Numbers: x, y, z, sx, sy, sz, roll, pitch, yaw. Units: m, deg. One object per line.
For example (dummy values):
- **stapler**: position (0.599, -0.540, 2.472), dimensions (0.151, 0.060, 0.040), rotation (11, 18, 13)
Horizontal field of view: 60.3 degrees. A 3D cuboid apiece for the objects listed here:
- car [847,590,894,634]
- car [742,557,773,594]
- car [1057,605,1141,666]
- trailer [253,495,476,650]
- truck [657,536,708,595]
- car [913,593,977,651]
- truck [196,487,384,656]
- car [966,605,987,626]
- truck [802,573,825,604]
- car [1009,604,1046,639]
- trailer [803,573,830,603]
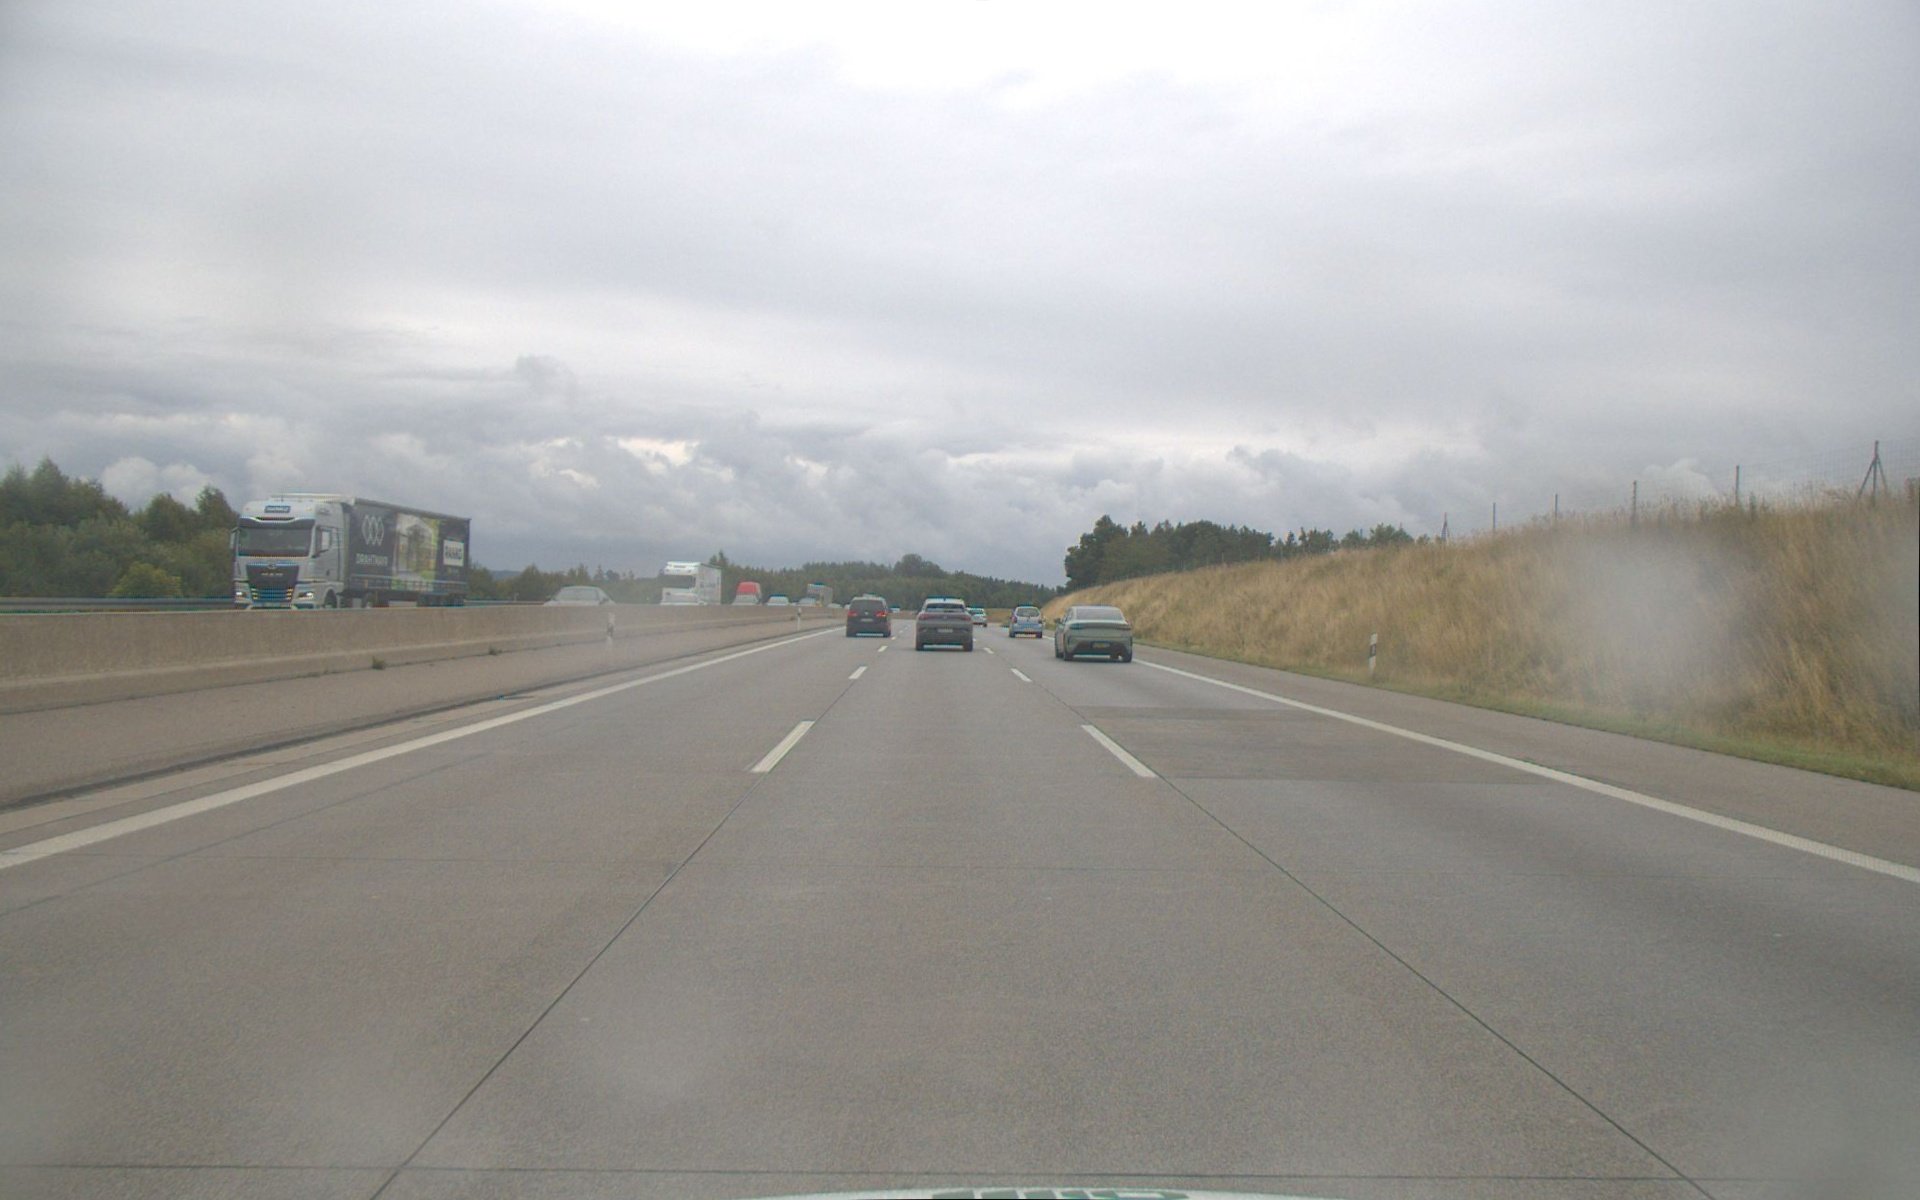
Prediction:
- **car**: position (-3.866, 0.497, 71.990), dimensions (1.748, 1.777, 3.916), rotation (1, 1, 1)
- **car**: position (-16.786, -2.015, 137.195), dimensions (1.764, 3.010, 5.579), rotation (1, 0, 1)
- **car**: position (3.744, 0.932, 45.341), dimensions (1.973, 1.471, 4.746), rotation (1, 1, 1)
- **trailer**: position (-20.880, -0.936, 59.189), dimensions (3.526, 4.883, 12.904), rotation (1, 1, -1)
- **truck**: position (-21.412, -2.654, 127.913), dimensions (2.825, 4.366, 7.134), rotation (1, 0, -2)
- **car**: position (-0.526, 0.656, 53.292), dimensions (1.860, 1.719, 5.264), rotation (1, 1, -2)
- **truck**: position (-20.694, -0.856, 51.533), dimensions (3.515, 4.903, 5.867), rotation (1, 0, -2)
- **car**: position (1.319, 1.248, 132.509), dimensions (1.456, 1.496, 3.504), rotation (4, 0, -1)
- **truck**: position (-21.117, -1.661, 237.944), dimensions (2.872, 4.253, 5.856), rotation (1, 0, -2)
- **car**: position (3.183, 1.002, 78.309), dimensions (1.456, 1.496, 3.504), rotation (4, 0, -1)
- **trailer**: position (-21.231, -1.754, 245.125), dimensions (2.859, 4.291, 11.872), rotation (1, 1, 0)
